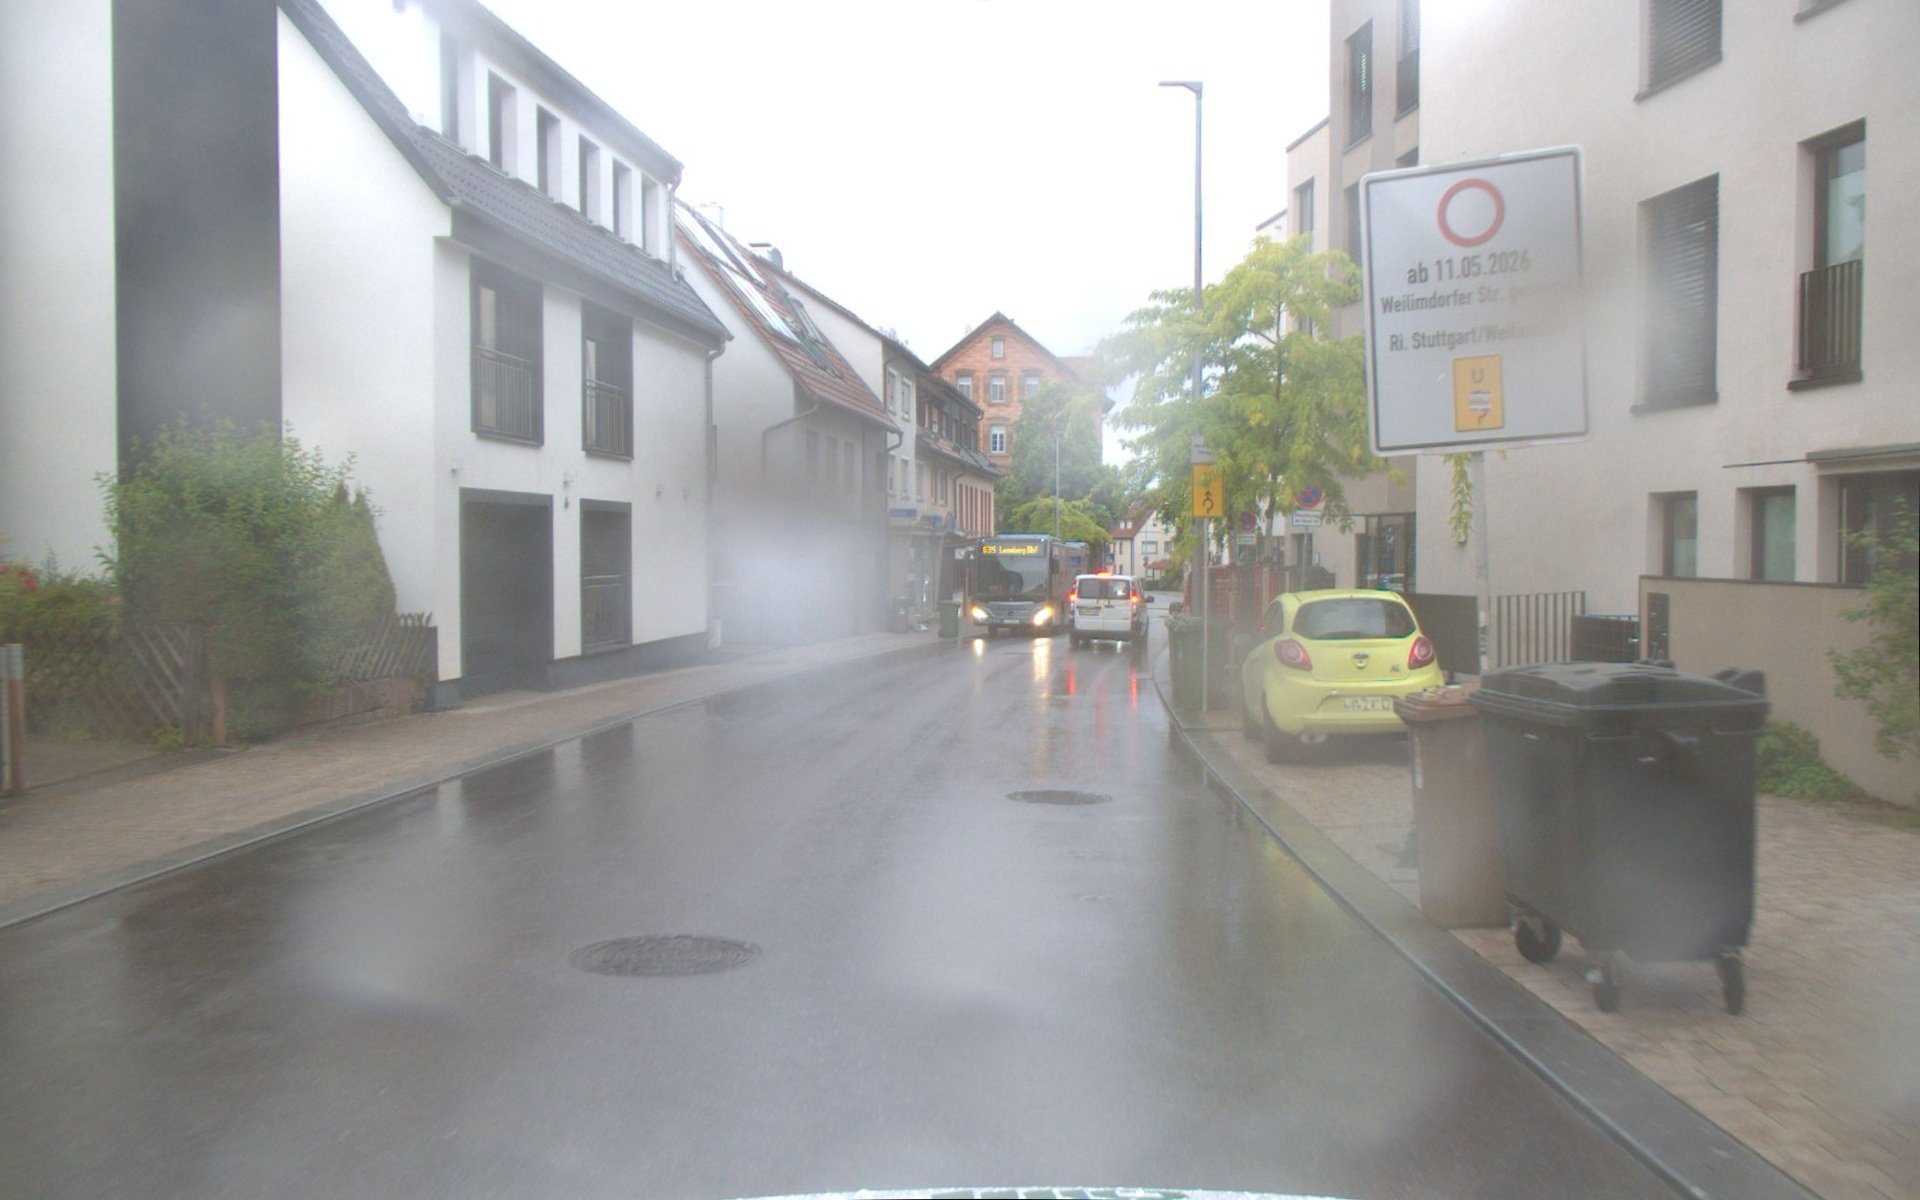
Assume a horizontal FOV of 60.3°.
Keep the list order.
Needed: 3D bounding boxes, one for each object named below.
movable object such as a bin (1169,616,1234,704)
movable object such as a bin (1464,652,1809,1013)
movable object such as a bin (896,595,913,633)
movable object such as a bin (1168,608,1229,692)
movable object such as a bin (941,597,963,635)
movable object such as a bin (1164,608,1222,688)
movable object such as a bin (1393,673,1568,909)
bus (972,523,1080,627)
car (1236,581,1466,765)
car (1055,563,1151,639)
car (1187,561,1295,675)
[{"bbox_3d":[3.166,0.774,21.767,0.793,1.128,0.986,0,0,6],"label":"movable object such as a bin"},{"bbox_3d":[2.561,0.825,6.462,0.751,1.193,1.541,0,0,2],"label":"movable object such as a bin"},{"bbox_3d":[-1.691,0.418,50.515,0.507,1.142,0.635,0,0,-1],"label":"movable object such as a bin"},{"bbox_3d":[3.311,0.683,23.014,0.793,1.128,0.986,0,0,6],"label":"movable object such as a bin"},{"bbox_3d":[-0.229,0.479,49.186,0.620,1.142,0.520,0,0,4],"label":"movable object such as a bin"},{"bbox_3d":[3.372,0.686,24.021,0.793,1.128,0.986,0,0,6],"label":"movable object such as a bin"},{"bbox_3d":[2.469,0.893,7.889,0.691,1.064,0.518,0,0,5],"label":"movable object such as a bin"},{"bbox_3d":[2.352,-0.750,55.173,2.681,3.185,9.241,0,0,8],"label":"bus"},{"bbox_3d":[3.615,0.608,15.808,1.569,1.509,3.303,-3,0,4],"label":"car"},{"bbox_3d":[3.865,0.020,44.099,2.148,1.884,4.308,-1,0,10],"label":"car"},{"bbox_3d":[4.787,0.287,28.159,1.675,1.793,4.003,0,0,10],"label":"car"}]
